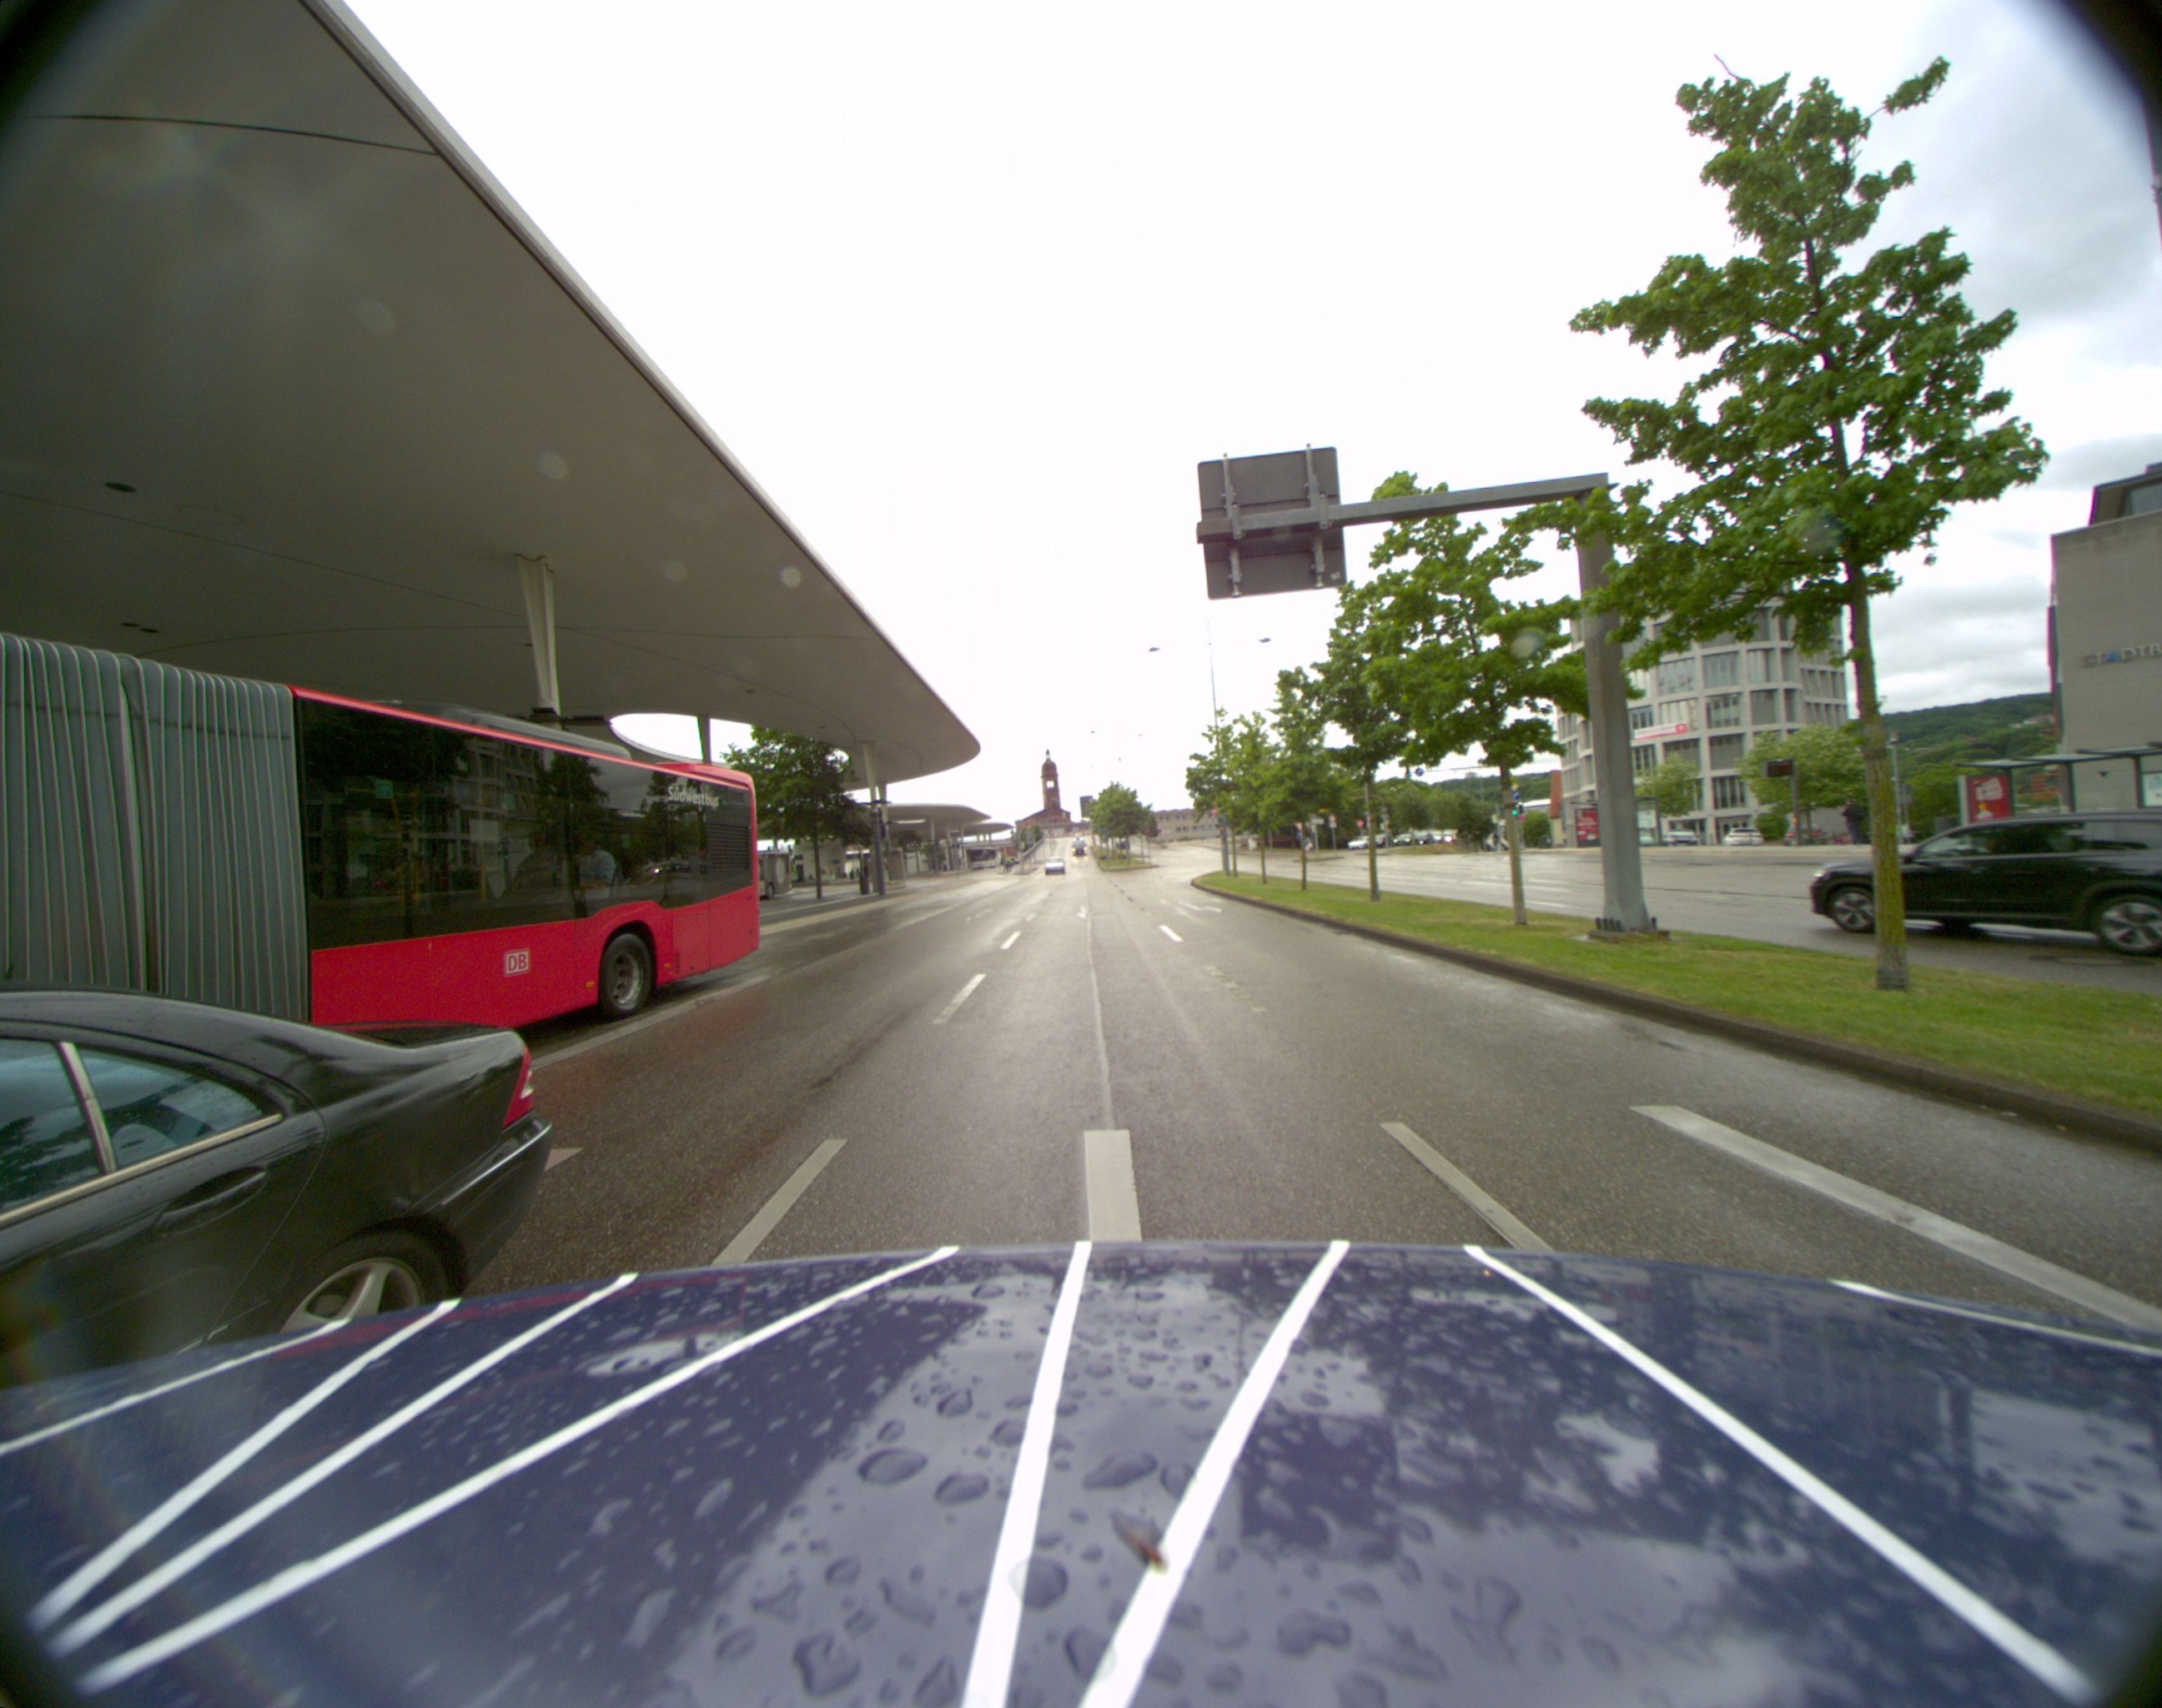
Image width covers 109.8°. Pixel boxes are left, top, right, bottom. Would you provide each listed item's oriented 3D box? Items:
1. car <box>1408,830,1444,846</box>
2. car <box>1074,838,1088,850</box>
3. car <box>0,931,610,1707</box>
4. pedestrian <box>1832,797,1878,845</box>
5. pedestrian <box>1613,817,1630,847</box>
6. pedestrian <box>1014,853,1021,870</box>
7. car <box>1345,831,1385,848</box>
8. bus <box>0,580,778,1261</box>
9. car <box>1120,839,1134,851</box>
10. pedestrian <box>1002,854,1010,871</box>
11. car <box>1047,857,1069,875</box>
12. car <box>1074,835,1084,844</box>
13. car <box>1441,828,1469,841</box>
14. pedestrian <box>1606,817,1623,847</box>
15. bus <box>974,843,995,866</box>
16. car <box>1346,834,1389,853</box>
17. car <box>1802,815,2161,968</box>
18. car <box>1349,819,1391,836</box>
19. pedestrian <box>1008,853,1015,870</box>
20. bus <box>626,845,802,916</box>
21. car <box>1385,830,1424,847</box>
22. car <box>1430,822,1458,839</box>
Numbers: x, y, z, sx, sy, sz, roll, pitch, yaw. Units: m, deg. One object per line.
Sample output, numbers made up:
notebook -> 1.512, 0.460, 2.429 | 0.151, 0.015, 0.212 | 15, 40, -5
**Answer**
car -> 42.258, -1.954, 92.979 | 4.925, 1.702, 2.190 | -3, 1, -43
car -> -0.006, -1.428, 107.196 | 1.704, 1.656, 3.998 | -3, 1, -2
car -> -2.821, 1.138, 0.703 | 1.750, 1.471, 4.435 | -5, 1, 2
pedestrian -> 29.102, -1.231, 28.572 | 0.787, 1.750, 0.972 | -3, 1, -28
pedestrian -> 30.050, -1.229, 42.245 | 0.520, 1.625, 0.536 | -2, 1, 1
pedestrian -> -6.125, 0.720, 73.733 | 0.557, 1.614, 0.552 | -3, 1, 1
car -> 32.278, -1.661, 86.317 | 4.925, 1.702, 2.190 | -3, 1, -42
bus -> -6.152, 0.354, 7.596 | 2.750, 3.155, 8.120 | -3, 0, 1
car -> 7.179, -1.450, 118.469 | 1.998, 1.765, 4.000 | -3, 0, 1
pedestrian -> -7.292, 0.811, 73.907 | 0.576, 1.614, 0.588 | -3, 1, 1
car -> -1.965, 1.012, 65.295 | 1.627, 1.450, 3.735 | -3, 0, 1
car -> -0.415, -2.759, 149.389 | 1.704, 1.656, 3.999 | -3, 0, -2
car -> 50.855, -2.608, 103.326 | 2.193, 1.702, 4.920 | -3, 0, 11
pedestrian -> 29.501, -1.202, 42.011 | 0.504, 1.625, 0.502 | -2, 1, 1
bus -> -14.311, 0.093, 113.262 | 2.675, 3.111, 9.712 | -3, 0, -5
car -> 30.565, -1.139, 80.993 | 4.925, 1.702, 2.190 | -3, 1, -43
car -> 12.460, 0.374, 9.690 | 1.827, 1.630, 4.597 | -3, 0, -7
car -> 40.516, -3.702, 106.562 | 2.315, 2.002, 5.021 | -3, 1, -41
pedestrian -> -6.737, 0.744, 73.916 | 0.557, 1.614, 0.552 | -3, 1, 1
bus -> -19.925, 1.220, 42.730 | 3.003, 3.088, 12.356 | -7, 0, 3
car -> 37.309, -1.803, 87.517 | 4.925, 1.702, 2.190 | -3, 1, -43
car -> 46.853, -3.026, 98.032 | 1.994, 2.002, 4.008 | -2, 0, 44
